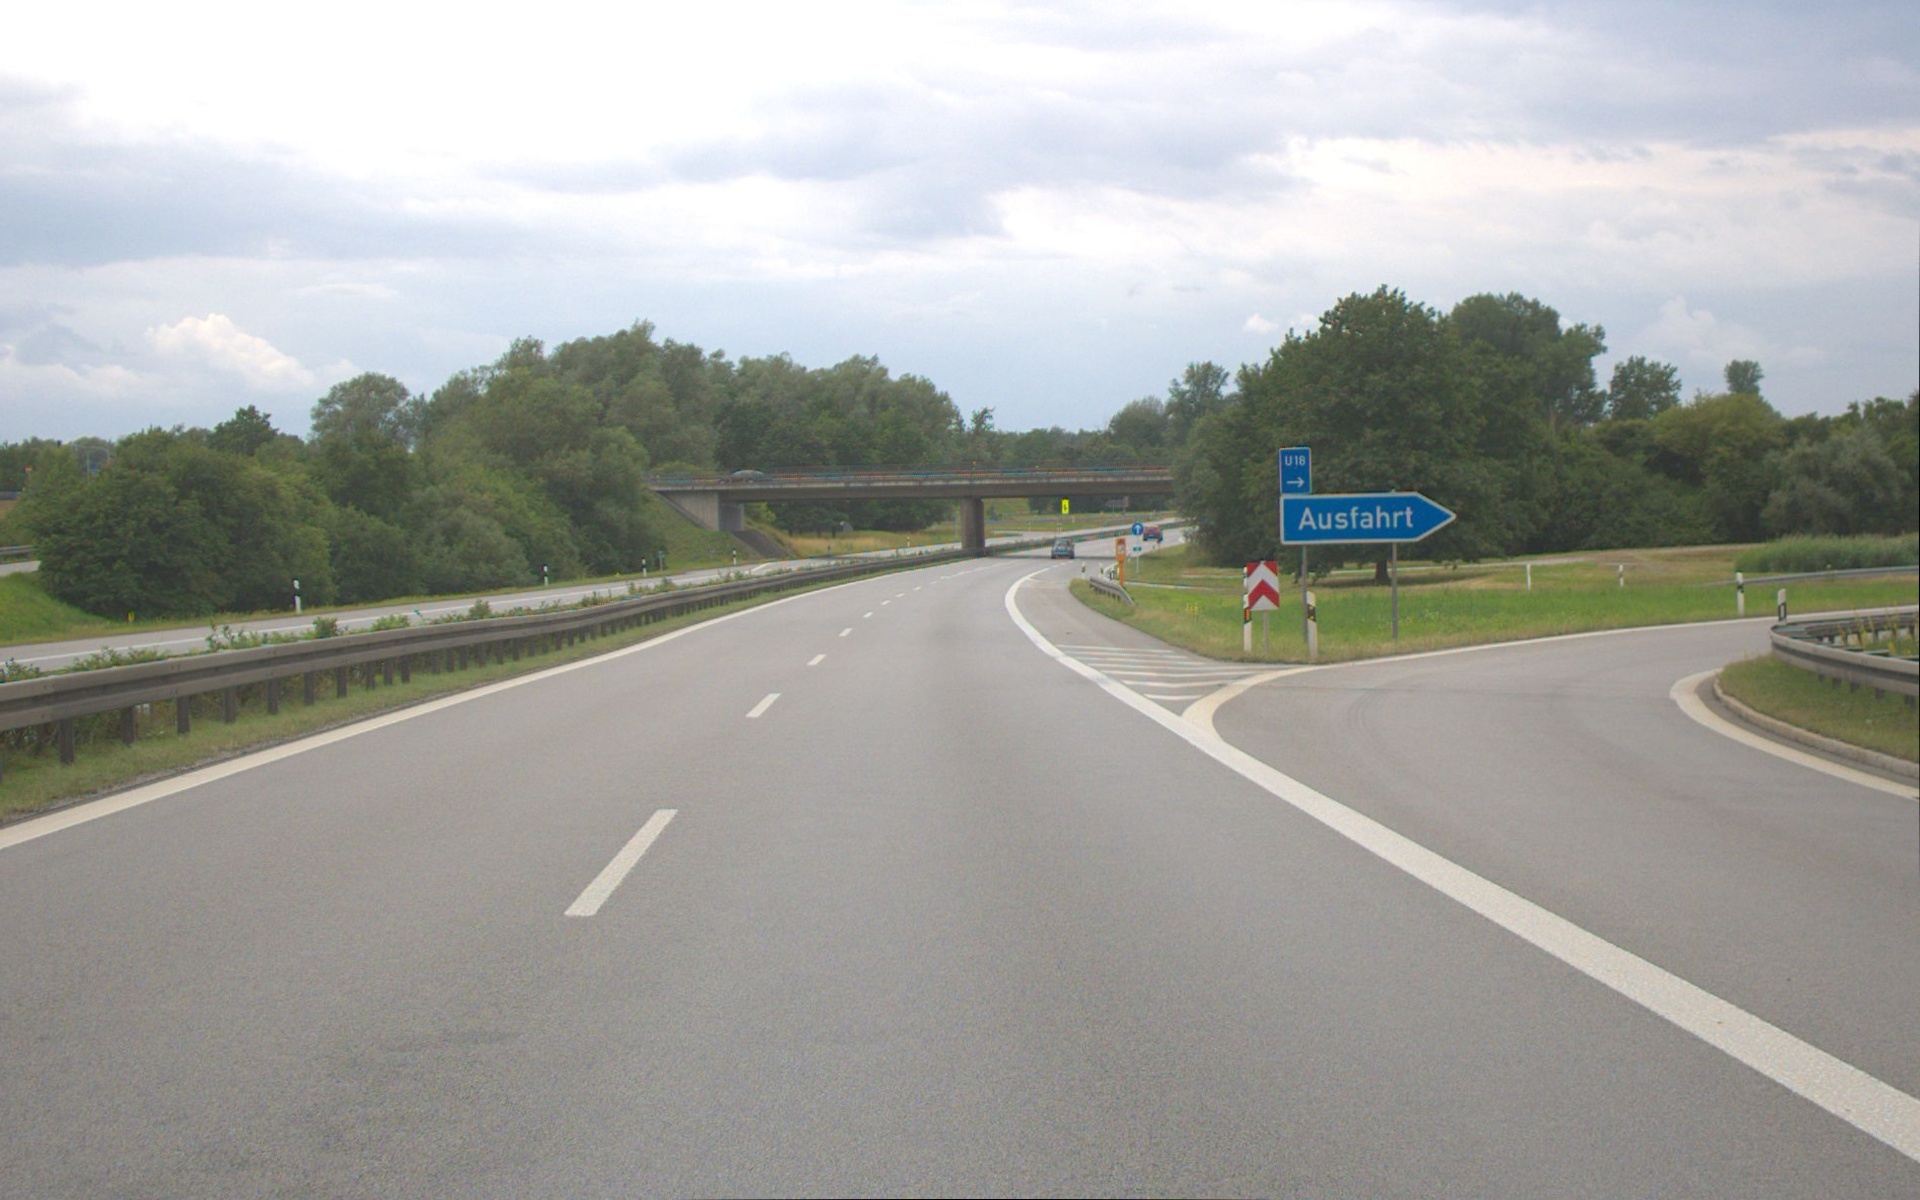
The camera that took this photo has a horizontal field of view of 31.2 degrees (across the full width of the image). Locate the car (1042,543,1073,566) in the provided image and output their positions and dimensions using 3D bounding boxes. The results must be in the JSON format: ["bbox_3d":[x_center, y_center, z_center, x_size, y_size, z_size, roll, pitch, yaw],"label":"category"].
[{"bbox_3d":[7.426,-3.420,260.605,1.846,1.711,3.999,-1,1,9],"label":"car"}]
